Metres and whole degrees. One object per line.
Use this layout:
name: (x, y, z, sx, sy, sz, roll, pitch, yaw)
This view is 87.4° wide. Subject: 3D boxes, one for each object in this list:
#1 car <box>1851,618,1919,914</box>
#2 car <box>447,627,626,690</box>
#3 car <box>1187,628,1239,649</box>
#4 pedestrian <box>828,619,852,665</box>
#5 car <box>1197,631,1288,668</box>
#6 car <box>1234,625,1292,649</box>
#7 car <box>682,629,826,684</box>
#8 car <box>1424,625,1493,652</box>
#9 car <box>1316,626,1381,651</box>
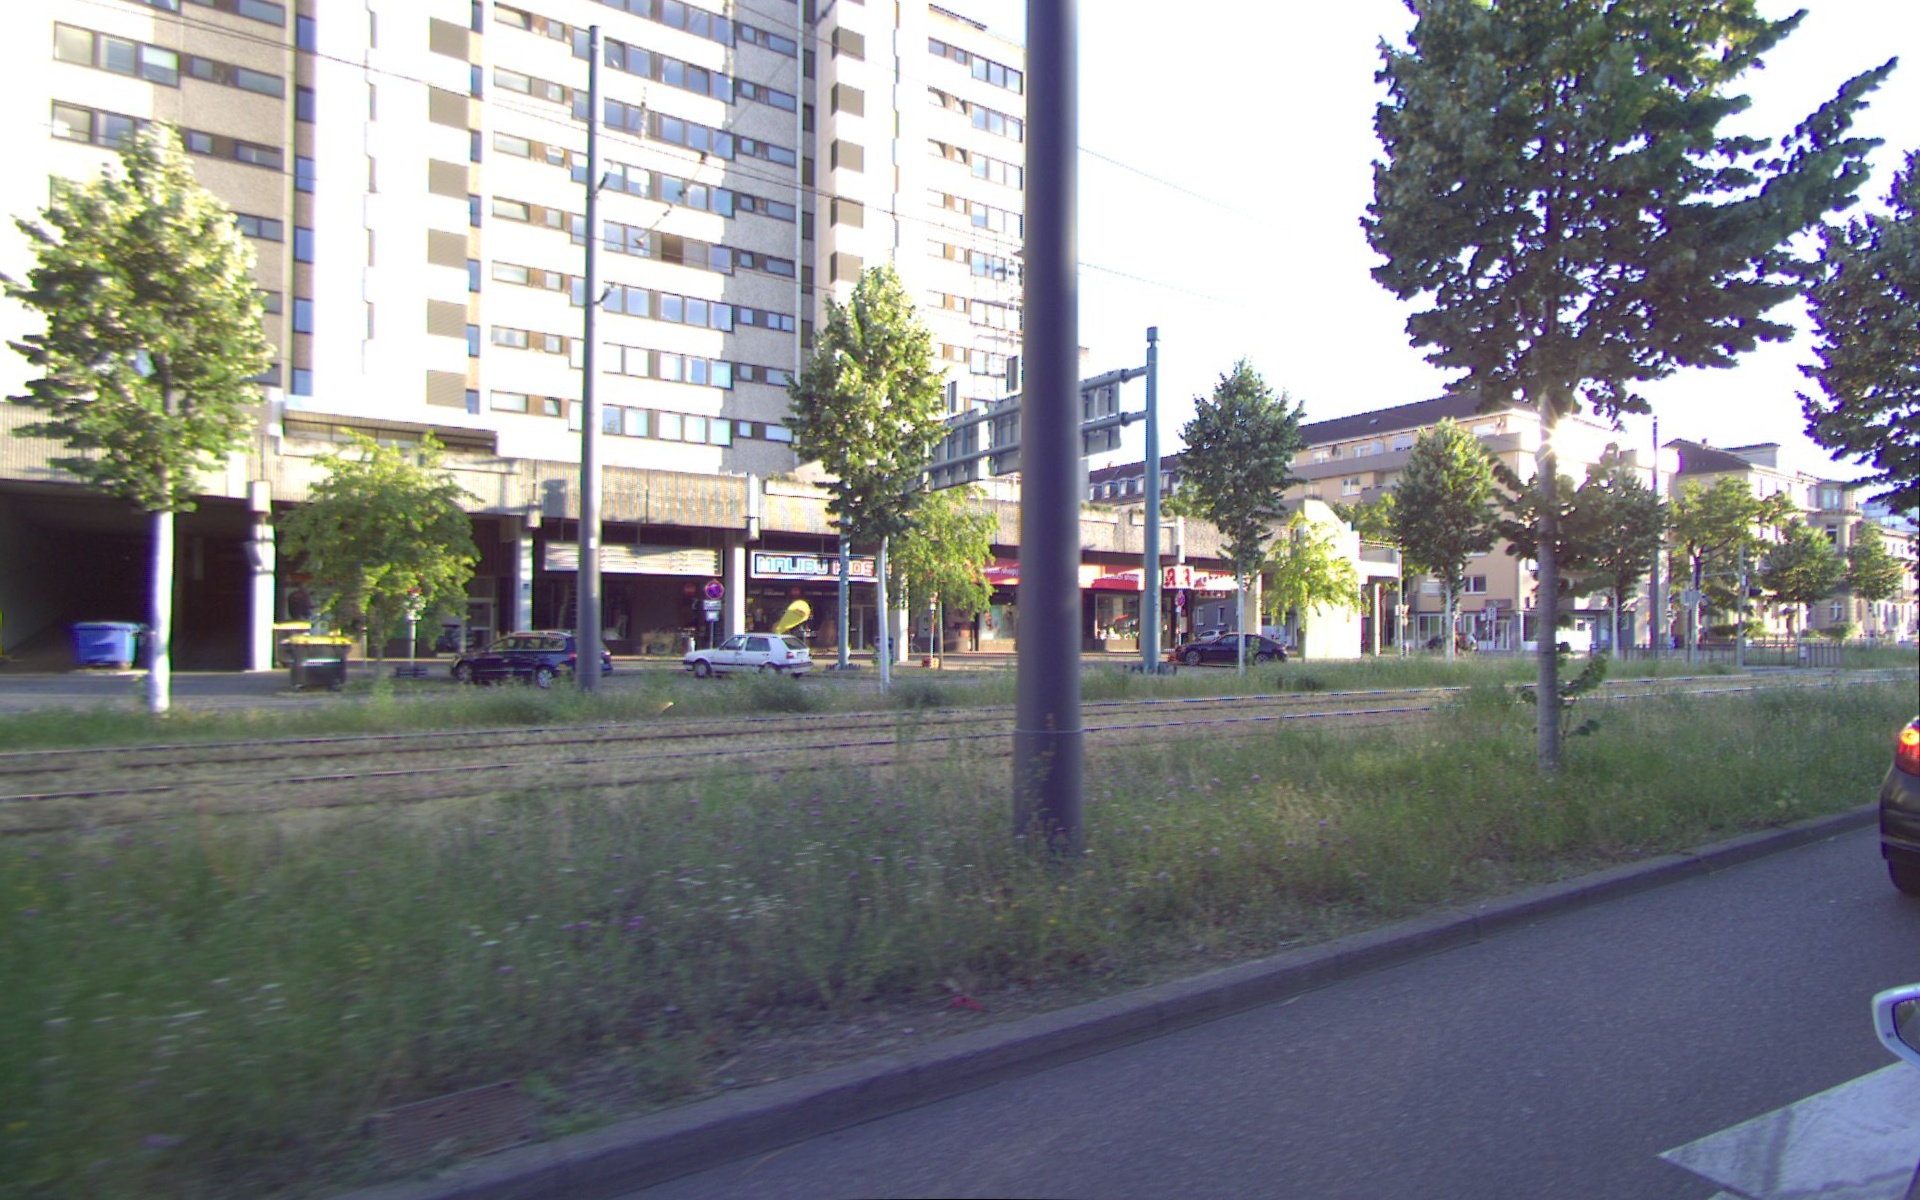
car: (6.714, 0.846, 5.551, 3.859, 1.469, 1.709, 0, 0, -33)
car: (-11.655, 1.571, 27.716, 4.199, 1.611, 2.010, 0, -1, 16)
car: (22.731, 3.463, 90.451, 2.093, 1.779, 4.304, 1, -1, -33)
pedestrian: (-4.467, 1.569, 37.368, 0.654, 1.683, 0.660, 1, -1, -31)
car: (12.000, 2.085, 42.670, 3.655, 1.469, 1.745, 0, -2, 17)
car: (25.654, 3.108, 85.196, 2.143, 2.016, 4.462, 1, -1, -33)
car: (-6.463, 1.727, 31.512, 4.049, 1.455, 1.825, 1, 0, 19)
car: (35.483, 2.691, 71.566, 2.168, 1.870, 3.911, 1, -2, -33)
car: (30.290, 3.017, 78.400, 2.143, 1.792, 4.305, -1, -3, -33)
